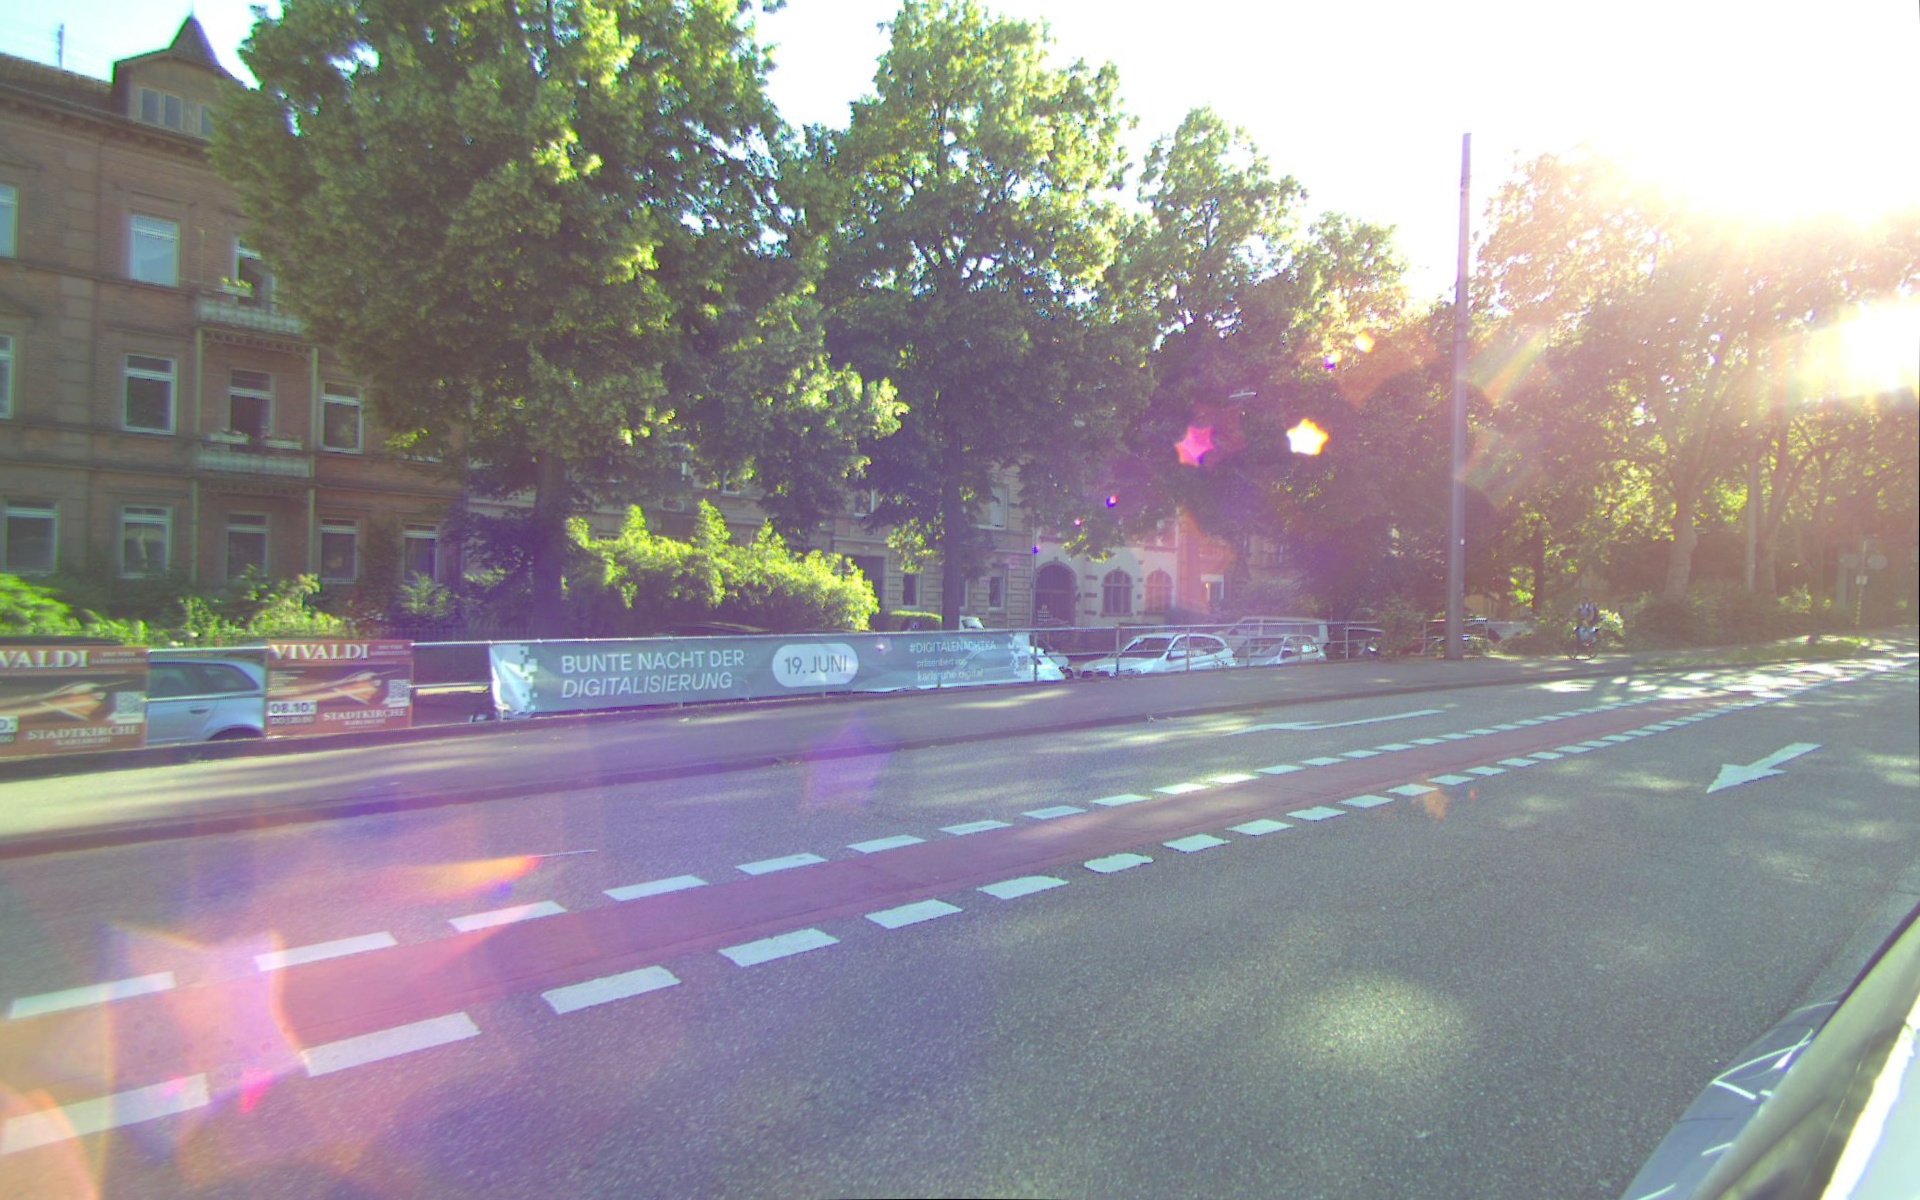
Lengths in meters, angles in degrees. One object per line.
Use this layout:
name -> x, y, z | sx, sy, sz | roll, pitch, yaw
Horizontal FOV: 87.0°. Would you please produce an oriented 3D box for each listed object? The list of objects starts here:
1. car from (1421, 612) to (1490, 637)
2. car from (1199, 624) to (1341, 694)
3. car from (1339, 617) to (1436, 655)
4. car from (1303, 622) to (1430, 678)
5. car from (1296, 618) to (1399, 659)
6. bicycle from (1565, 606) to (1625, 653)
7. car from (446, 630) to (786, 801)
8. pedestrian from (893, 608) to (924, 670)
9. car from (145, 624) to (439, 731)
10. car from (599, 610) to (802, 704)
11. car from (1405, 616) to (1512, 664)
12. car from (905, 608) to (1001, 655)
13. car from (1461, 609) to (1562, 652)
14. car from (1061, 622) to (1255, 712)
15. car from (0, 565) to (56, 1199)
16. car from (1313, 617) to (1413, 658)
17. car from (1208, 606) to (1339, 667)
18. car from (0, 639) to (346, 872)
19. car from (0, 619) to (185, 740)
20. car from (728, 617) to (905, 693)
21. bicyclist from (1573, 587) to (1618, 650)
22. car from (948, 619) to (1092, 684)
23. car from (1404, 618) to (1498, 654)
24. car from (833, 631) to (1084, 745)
car -> 34.999, 1.707, 71.550 | 1.766, 1.529, 4.001 | 1, 1, -35
car -> 7.687, 1.386, 24.965 | 3.516, 1.459, 1.796 | -1, 1, -42
car -> 19.920, 1.659, 47.295 | 3.947, 1.529, 1.790 | 2, 1, 18
car -> 11.524, 1.346, 28.596 | 3.932, 1.325, 1.796 | -1, 1, -42
car -> 16.268, 1.609, 42.682 | 3.871, 1.470, 1.680 | 2, 1, 17
bicycle -> 15.847, 0.720, 25.244 | 1.768, 1.121, 0.767 | 0, 1, -41
car -> -4.644, 1.427, 14.114 | 1.793, 1.825, 4.147 | 0, 1, 42
pedestrian -> -1.498, 1.130, 29.658 | 0.621, 1.768, 0.648 | 0, 0, -45
car -> -11.400, 1.241, 17.349 | 4.190, 1.424, 1.955 | 2, 1, 16
car -> -5.699, 1.203, 22.382 | 3.939, 1.756, 1.793 | 2, 1, 13
car -> 16.240, 1.249, 32.913 | 3.932, 1.325, 1.796 | -1, 1, -42
car -> -0.298, 1.161, 38.900 | 1.770, 1.541, 3.570 | 0, 2, -43
car -> 29.474, 1.594, 54.270 | 4.408, 2.039, 1.984 | 2, 1, 20
car -> 4.390, 1.363, 22.081 | 4.474, 1.599, 1.797 | -1, 1, -41
car -> -3.535, 0.690, 0.321 | 4.769, 1.491, 1.933 | 0, 0, -41
car -> 17.885, 1.642, 45.096 | 3.947, 1.529, 1.790 | 2, 1, 18
car -> 11.940, 1.347, 38.725 | 4.621, 1.990, 1.862 | 2, 1, 18
car -> -8.790, 1.463, 10.102 | 4.286, 1.922, 1.796 | -1, 0, -43
car -> -14.327, 1.133, 15.459 | 3.937, 1.498, 1.794 | 2, 1, 11
car -> -3.537, 1.298, 24.984 | 3.951, 1.532, 1.788 | 2, 1, 21
bicyclist -> 15.835, 0.442, 25.218 | 0.639, 1.532, 0.767 | 0, 0, -41
car -> 1.648, 1.401, 28.872 | 1.769, 1.532, 3.994 | 1, 1, -42
car -> 24.477, 1.776, 50.637 | 3.947, 1.529, 1.790 | 2, 1, 18
car -> 0.070, 1.452, 18.044 | 4.365, 1.599, 1.797 | -1, 1, -41
